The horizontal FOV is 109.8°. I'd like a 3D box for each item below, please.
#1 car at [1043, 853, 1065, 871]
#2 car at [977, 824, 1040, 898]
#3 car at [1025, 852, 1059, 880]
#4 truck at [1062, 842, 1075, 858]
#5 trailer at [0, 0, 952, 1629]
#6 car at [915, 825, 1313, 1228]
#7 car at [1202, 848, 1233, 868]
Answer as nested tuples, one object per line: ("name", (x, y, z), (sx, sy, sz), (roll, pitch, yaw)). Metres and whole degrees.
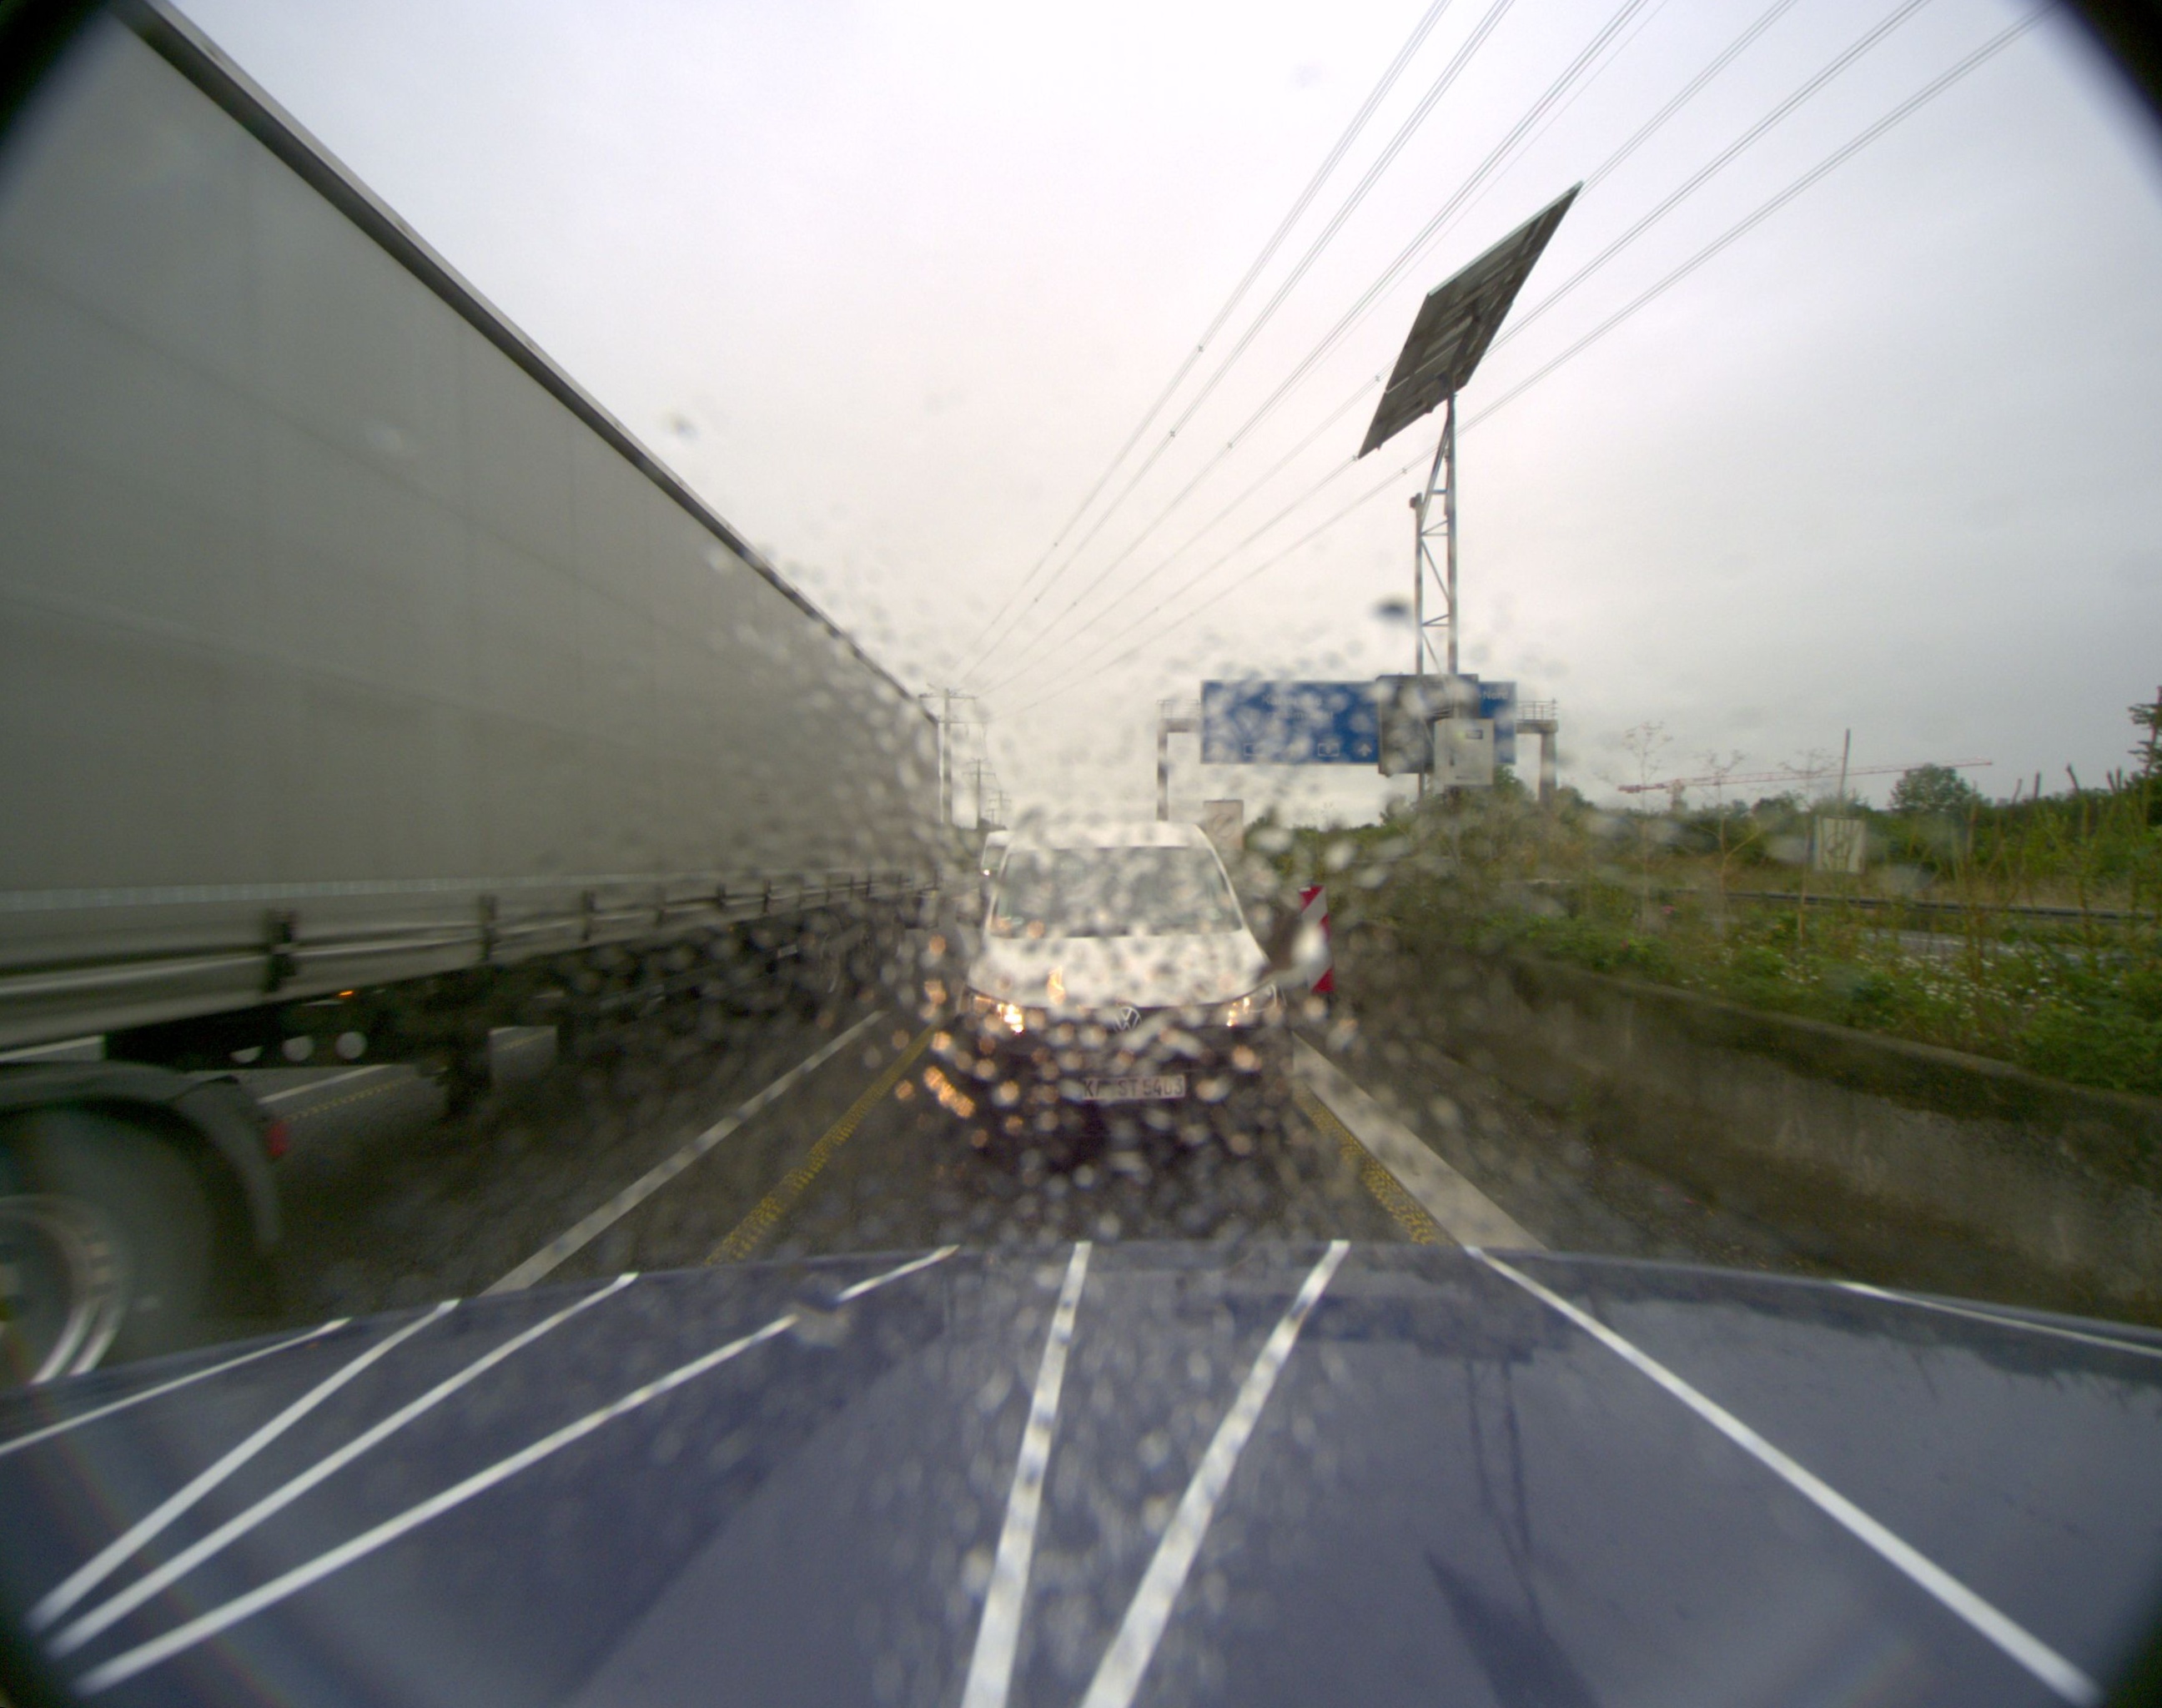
("car", (-2.330, 0.657, 66.505), (1.804, 1.523, 4.149), (-1, 0, -1))
("car", (-2.909, 0.260, 31.661), (1.998, 2.766, 5.756), (-1, 0, 0))
("car", (-2.436, 0.750, 48.434), (1.688, 1.649, 4.281), (-1, 0, 3))
("truck", (-3.204, -0.975, 199.643), (2.875, 4.007, 8.309), (-1, 0, 1))
("trailer", (-3.766, -0.304, 6.461), (2.713, 4.122, 13.731), (-1, 0, 1))
("car", (0.182, 0.788, 5.639), (1.768, 1.803, 4.345), (-1, 0, 1))
("car", (12.704, 0.366, 70.745), (1.998, 1.716, 5.059), (-1, 0, 1))
